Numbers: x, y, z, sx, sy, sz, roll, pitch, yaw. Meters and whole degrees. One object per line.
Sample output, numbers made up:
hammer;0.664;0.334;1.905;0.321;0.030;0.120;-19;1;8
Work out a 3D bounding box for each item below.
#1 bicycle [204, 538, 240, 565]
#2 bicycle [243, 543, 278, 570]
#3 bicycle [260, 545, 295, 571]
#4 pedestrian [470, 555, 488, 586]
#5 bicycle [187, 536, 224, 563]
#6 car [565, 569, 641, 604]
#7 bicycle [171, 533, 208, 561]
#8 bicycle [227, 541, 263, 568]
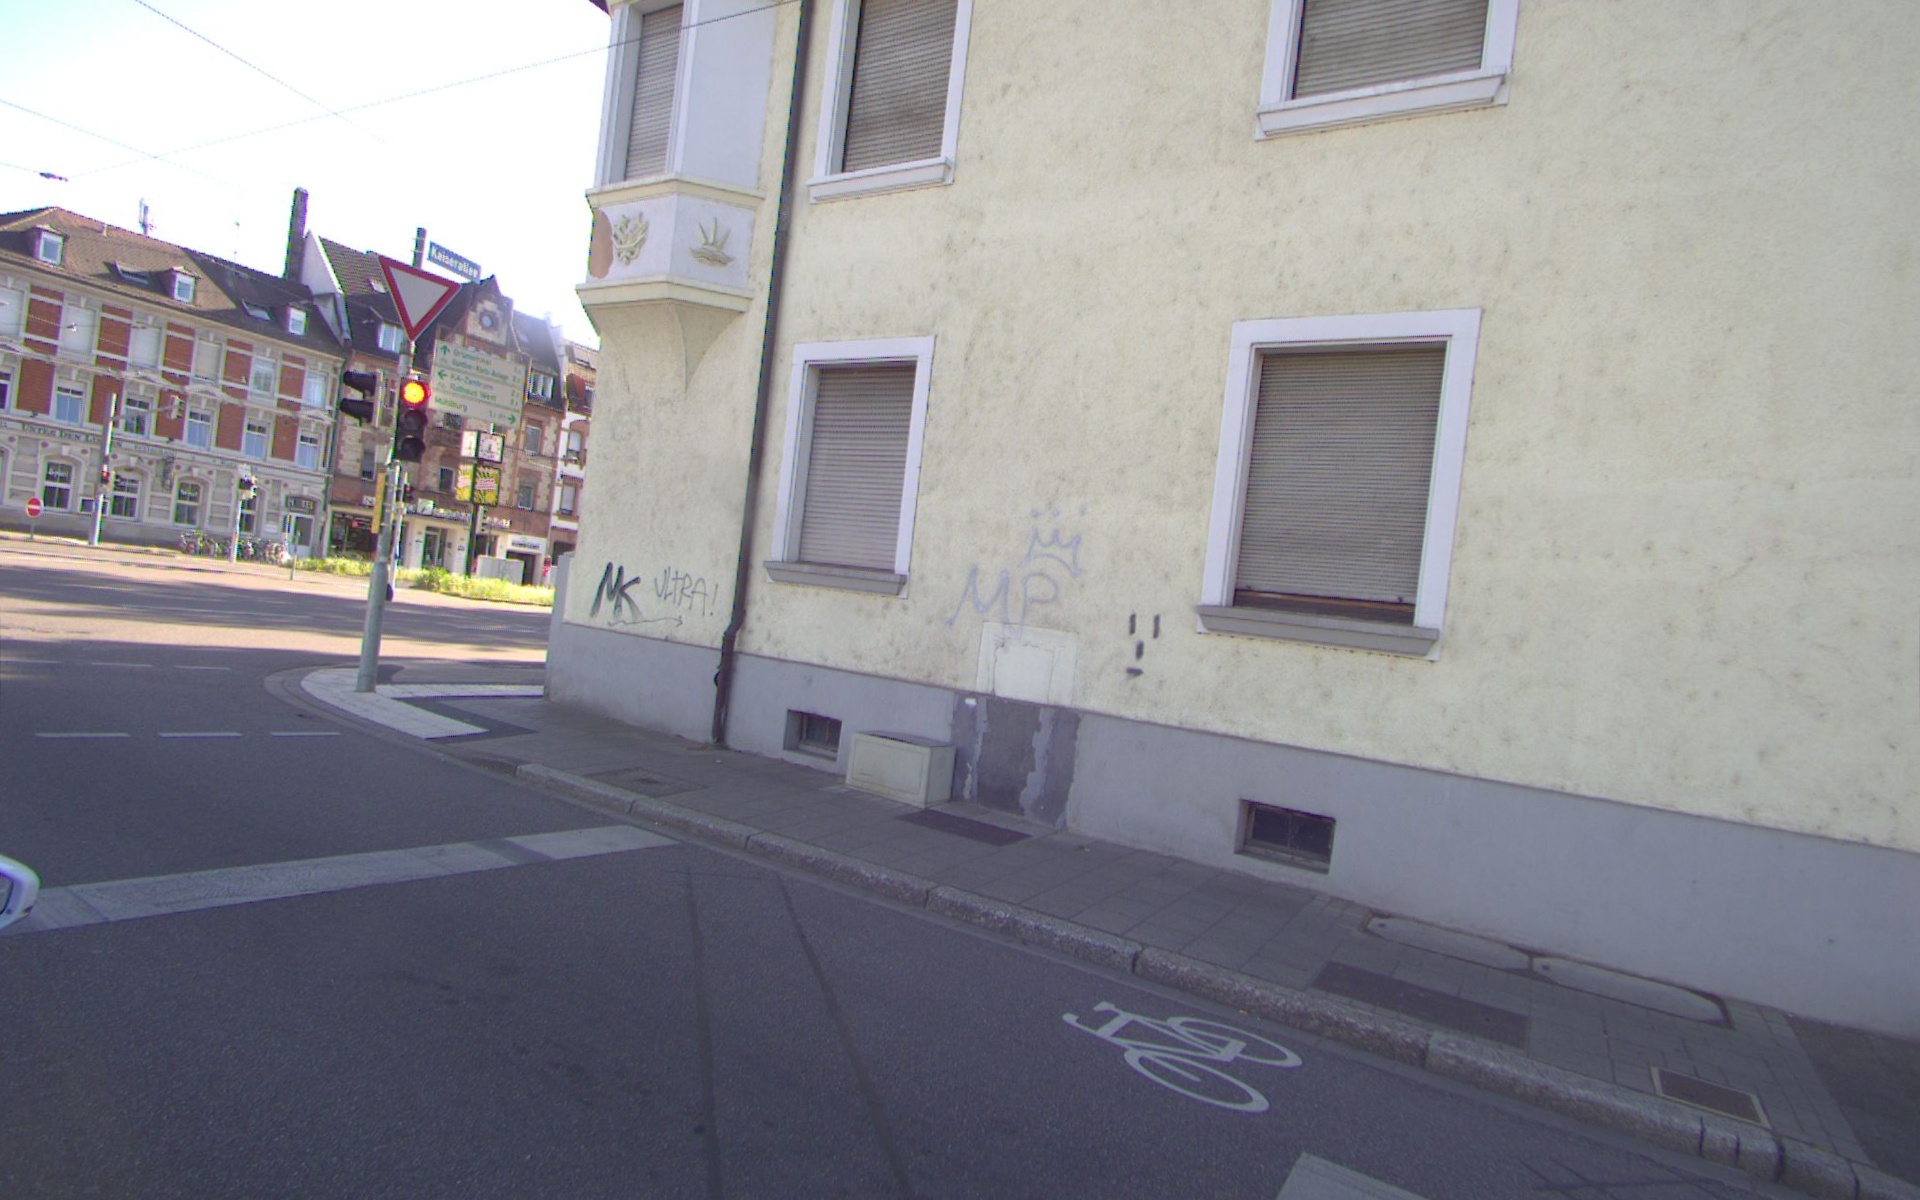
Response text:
bicycle;-34.313;-2.259;46.766;1.614;1.064;0.606;7;0;27
bicycle;-33.352;-2.085;47.947;1.614;1.064;0.606;7;0;27
bicycle;-32.978;-2.011;48.584;1.614;1.064;0.606;7;0;27
pedestrian;-29.080;-1.775;60.814;0.414;1.773;0.709;7;0;33
bicycle;-34.643;-2.326;46.190;1.614;1.064;0.606;7;0;27
car;-23.120;-0.859;65.304;1.966;1.674;4.378;7;-1;29
bicycle;-34.943;-2.389;45.608;1.614;1.064;0.606;7;0;27
bicycle;-33.647;-2.149;47.336;1.614;1.064;0.606;7;0;27
